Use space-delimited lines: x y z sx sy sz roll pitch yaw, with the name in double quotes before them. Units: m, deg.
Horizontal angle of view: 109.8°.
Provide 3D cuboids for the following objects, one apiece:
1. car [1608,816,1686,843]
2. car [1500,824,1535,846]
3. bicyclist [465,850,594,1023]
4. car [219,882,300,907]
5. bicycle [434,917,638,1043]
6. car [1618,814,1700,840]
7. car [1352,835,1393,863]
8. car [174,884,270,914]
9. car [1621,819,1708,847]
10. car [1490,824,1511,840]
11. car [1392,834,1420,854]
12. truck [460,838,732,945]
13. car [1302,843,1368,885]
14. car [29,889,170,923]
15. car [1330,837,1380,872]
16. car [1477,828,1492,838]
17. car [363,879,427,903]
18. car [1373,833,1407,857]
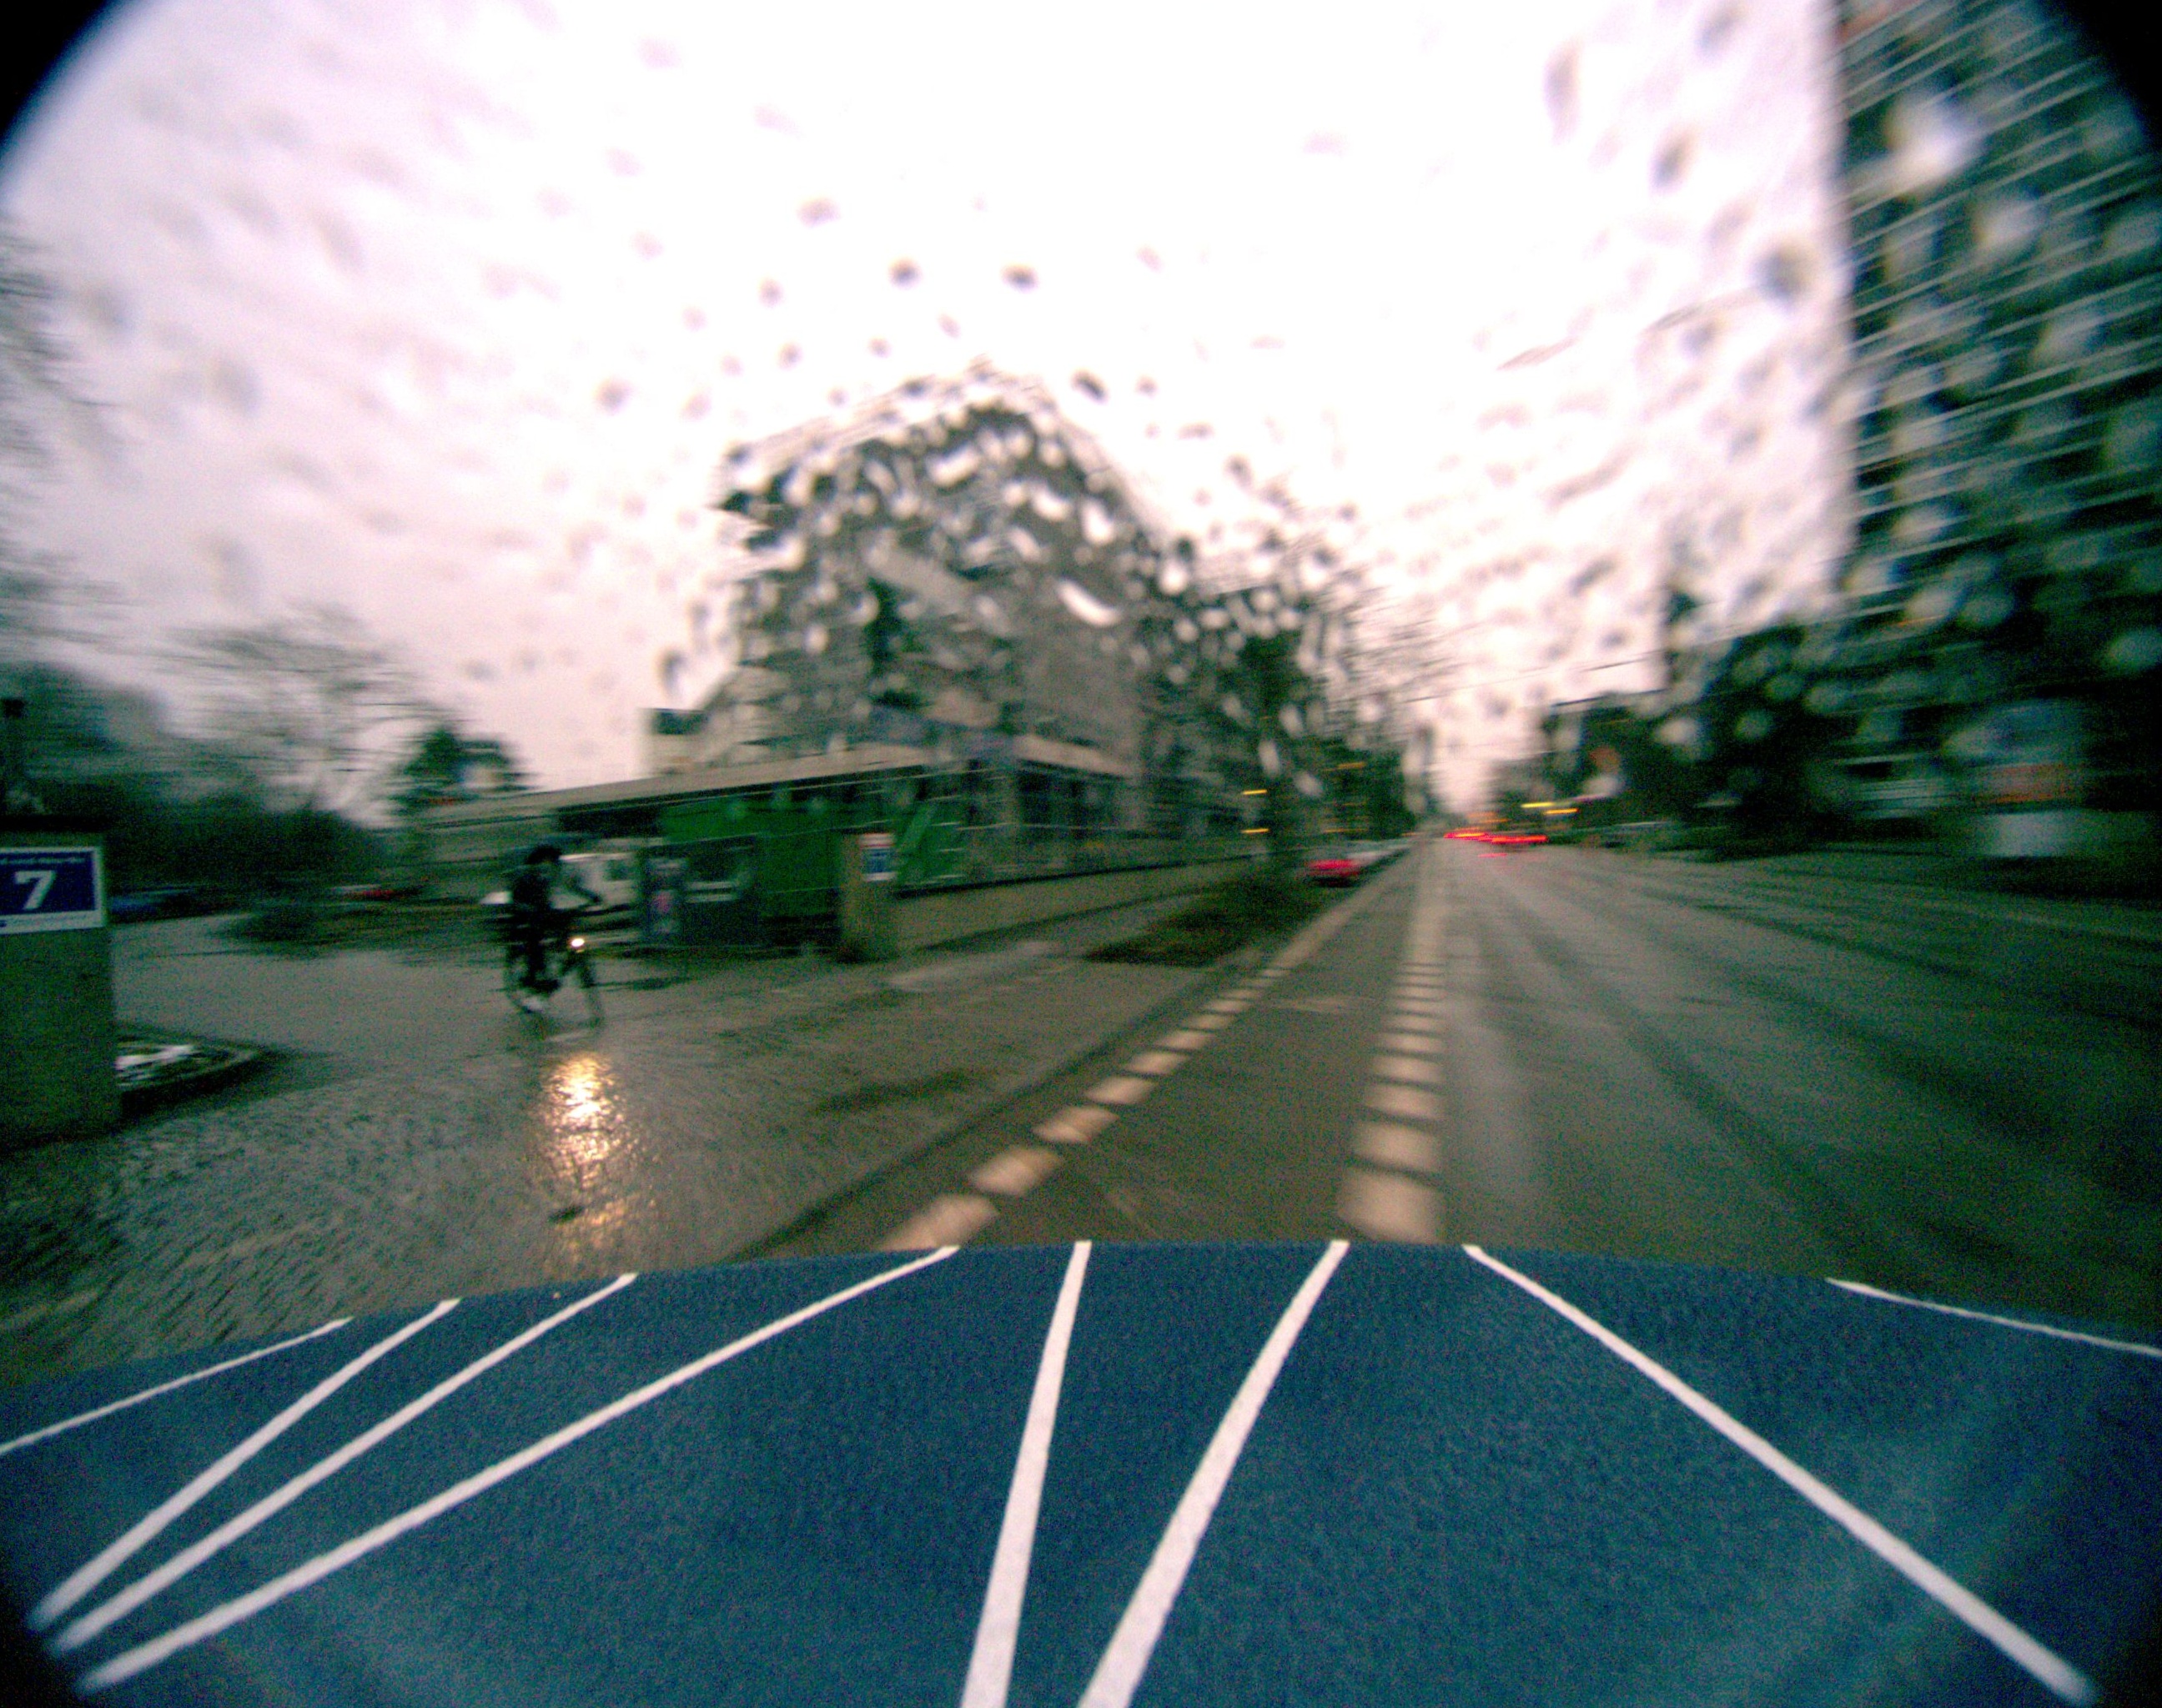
"car" 38.289 -1.661 51.526 3.989 1.630 2.004 -2 1 31
"car" 33.222 -1.436 57.878 1.749 1.536 4.301 -2 0 22
"bicyclist" -5.685 0.817 7.860 0.769 1.679 0.708 -2 1 20
"car" -65.912 3.231 61.069 4.007 1.652 1.995 -2 1 -34
"bicycle" -5.632 1.246 7.854 1.890 1.126 0.732 -2 1 20
"car" 37.054 -1.690 48.820 3.989 1.477 1.675 -2 1 31
"car" 17.579 -0.305 45.718 1.863 1.584 4.007 -2 0 27
"car" -59.067 3.055 52.380 4.007 1.785 1.797 -2 1 -34
"car" 34.960 -1.251 45.661 3.989 1.477 1.675 -2 1 31
"car" 45.091 -2.358 81.718 1.708 1.569 4.386 -2 0 27
"car" 27.180 -0.837 63.470 1.863 1.584 4.007 -2 0 27
"truck" -14.255 0.932 23.192 2.128 2.573 7.088 -2 2 18
"car" 9.373 0.333 27.880 1.750 1.379 3.742 -2 0 27
"car" -51.963 2.758 40.365 4.188 1.469 1.996 -2 -2 -38
"car" 13.074 -0.006 36.119 1.750 1.575 3.742 -2 0 27
"car" 62.224 -3.219 117.210 1.762 1.403 4.006 -2 0 26
"car" -50.012 2.649 55.478 3.315 1.514 1.699 -2 1 -39
"car" 21.970 -0.675 53.958 1.863 1.584 4.007 -2 0 27
